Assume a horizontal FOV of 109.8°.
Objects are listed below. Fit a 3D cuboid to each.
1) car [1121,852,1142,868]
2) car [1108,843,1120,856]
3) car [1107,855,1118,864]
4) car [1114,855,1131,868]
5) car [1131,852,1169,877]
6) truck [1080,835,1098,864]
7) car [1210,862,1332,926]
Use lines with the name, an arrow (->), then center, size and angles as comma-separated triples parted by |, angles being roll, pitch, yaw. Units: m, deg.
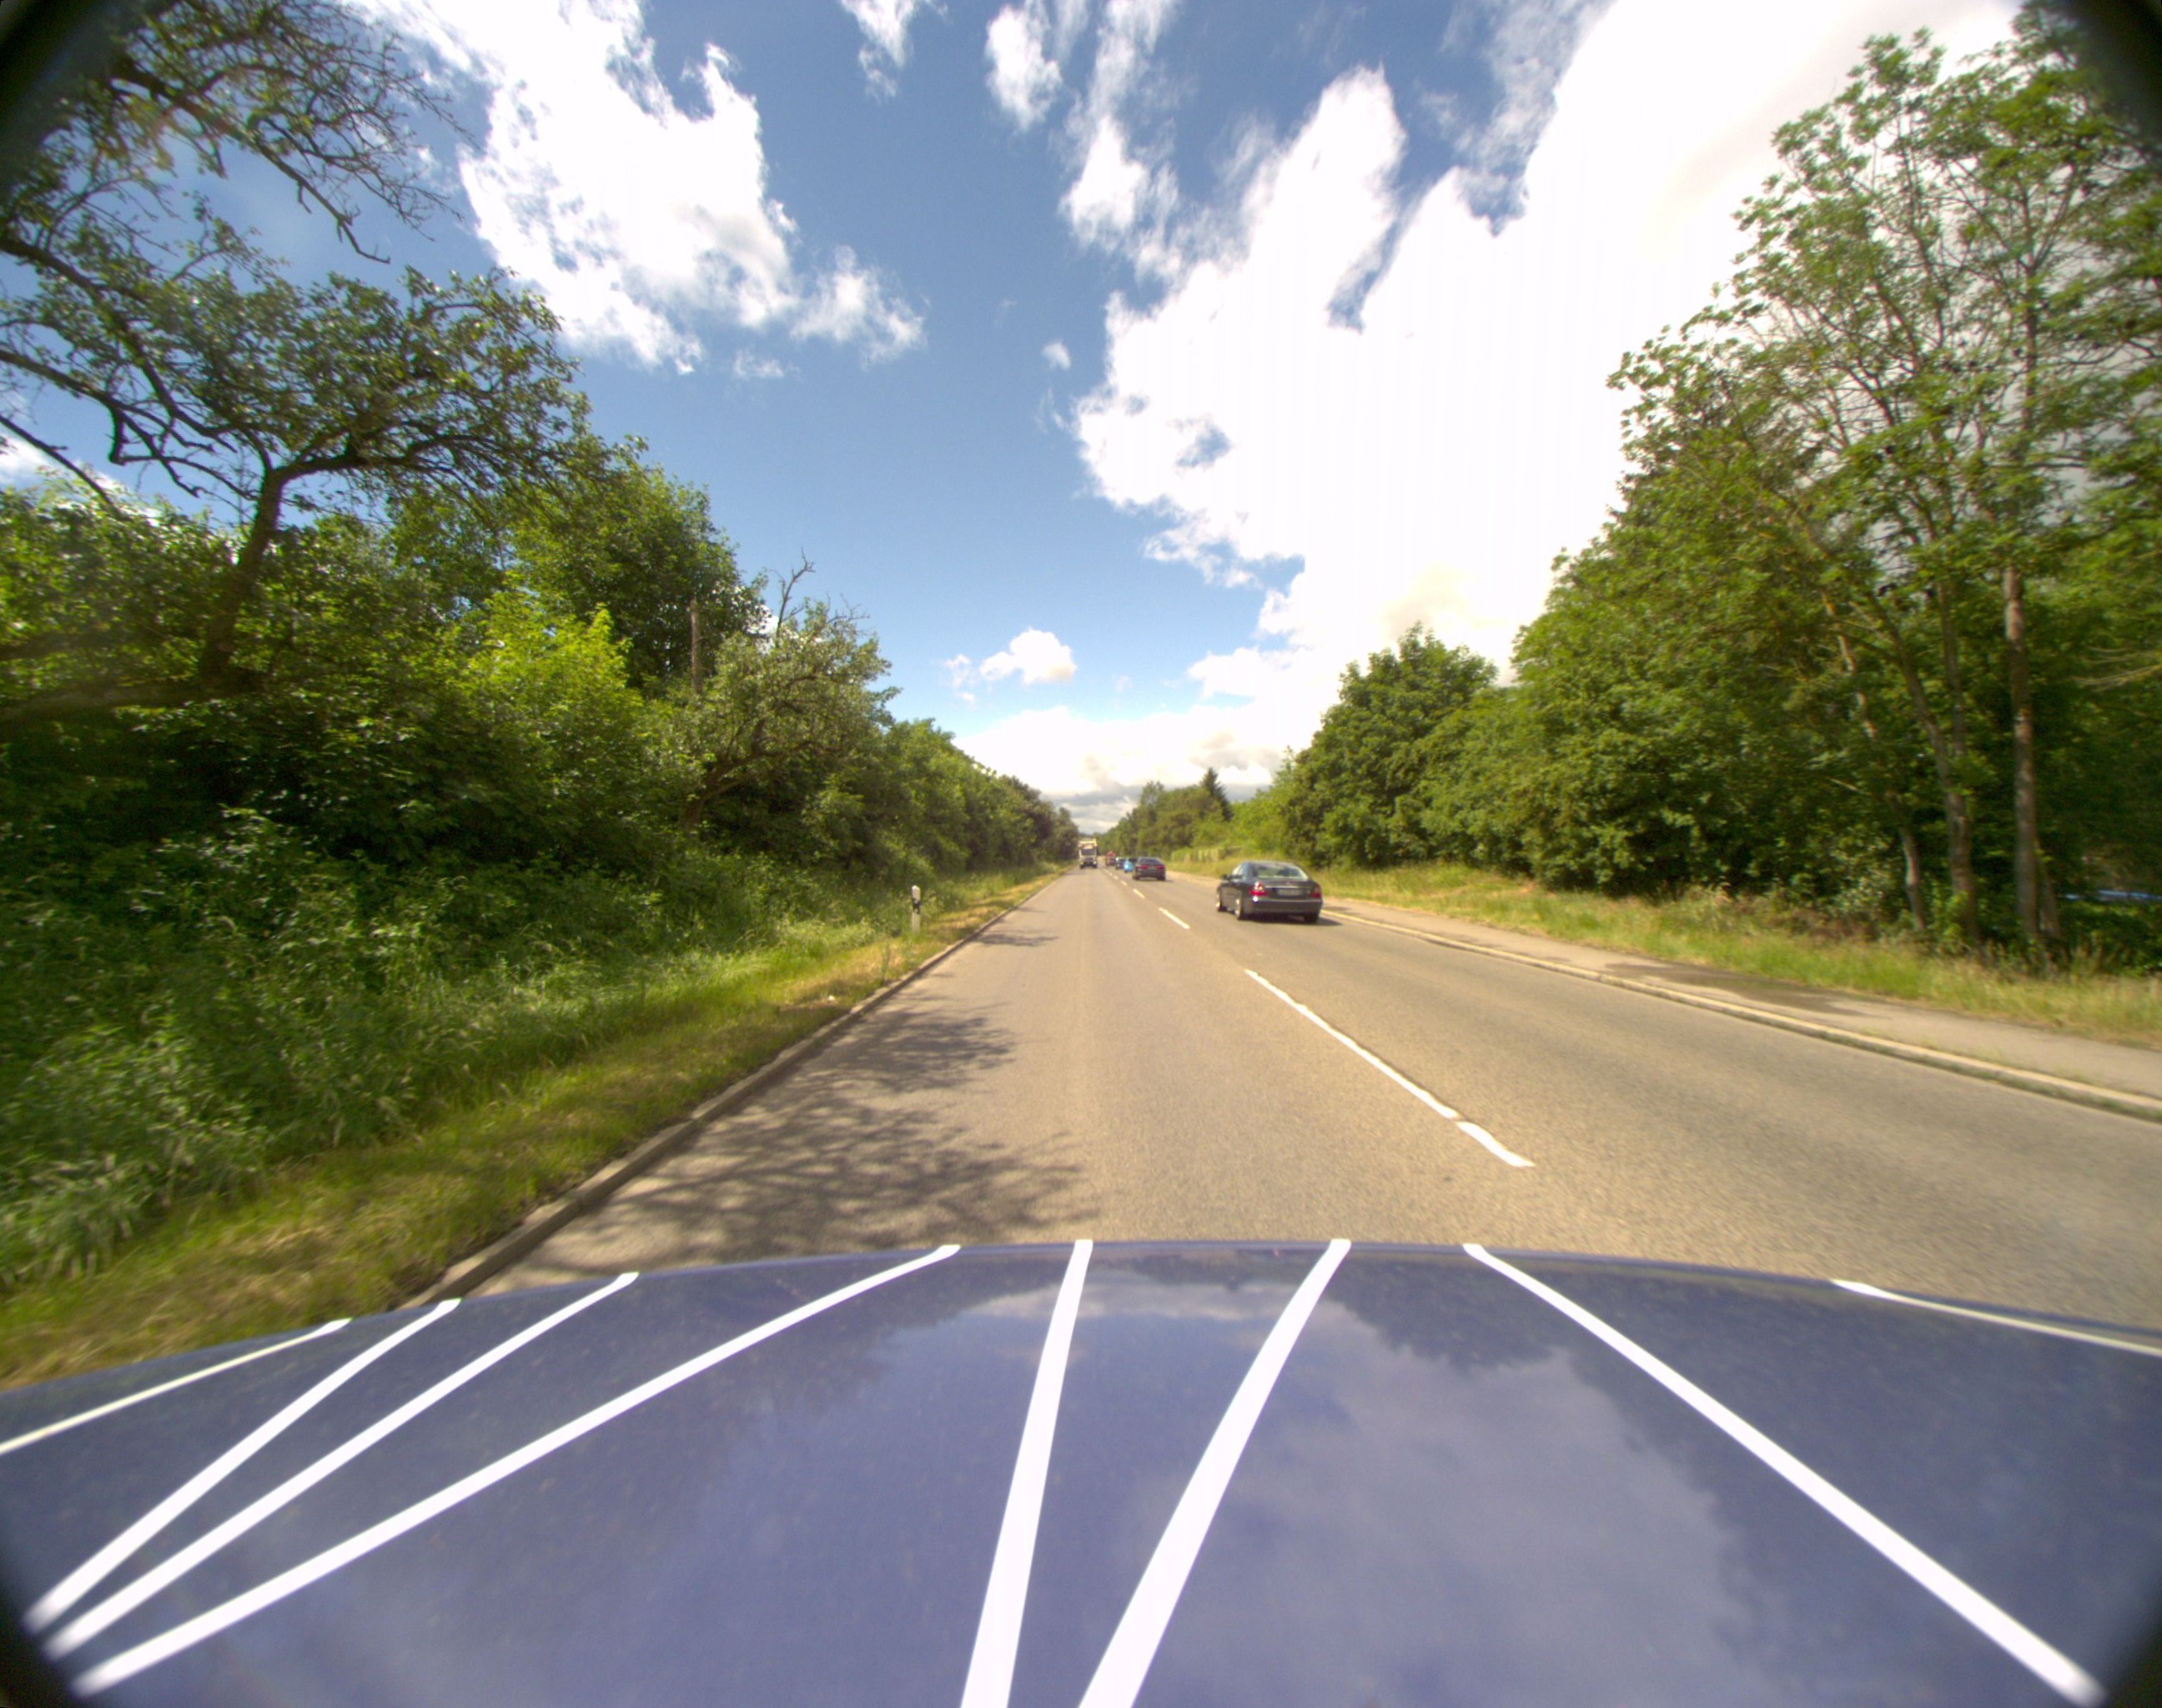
car -> 4.860, 0.596, 73.017 | 1.789, 1.438, 2.966 | 1, 0, -1
car -> 6.225, -0.852, 145.164 | 1.974, 2.535, 4.724 | 1, 0, -1
car -> 5.272, 0.965, 127.448 | 1.720, 1.462, 4.000 | 2, 0, 0
car -> 4.914, 0.896, 90.589 | 1.789, 1.438, 4.452 | 1, 0, -1
car -> 4.301, 0.652, 48.181 | 1.889, 1.483, 4.717 | 1, 0, -1
truck -> 1.144, -0.601, 108.184 | 2.306, 3.790, 8.183 | -3, 0, 0
car -> 4.490, 0.888, 18.703 | 1.789, 1.326, 4.622 | 1, 0, -1
